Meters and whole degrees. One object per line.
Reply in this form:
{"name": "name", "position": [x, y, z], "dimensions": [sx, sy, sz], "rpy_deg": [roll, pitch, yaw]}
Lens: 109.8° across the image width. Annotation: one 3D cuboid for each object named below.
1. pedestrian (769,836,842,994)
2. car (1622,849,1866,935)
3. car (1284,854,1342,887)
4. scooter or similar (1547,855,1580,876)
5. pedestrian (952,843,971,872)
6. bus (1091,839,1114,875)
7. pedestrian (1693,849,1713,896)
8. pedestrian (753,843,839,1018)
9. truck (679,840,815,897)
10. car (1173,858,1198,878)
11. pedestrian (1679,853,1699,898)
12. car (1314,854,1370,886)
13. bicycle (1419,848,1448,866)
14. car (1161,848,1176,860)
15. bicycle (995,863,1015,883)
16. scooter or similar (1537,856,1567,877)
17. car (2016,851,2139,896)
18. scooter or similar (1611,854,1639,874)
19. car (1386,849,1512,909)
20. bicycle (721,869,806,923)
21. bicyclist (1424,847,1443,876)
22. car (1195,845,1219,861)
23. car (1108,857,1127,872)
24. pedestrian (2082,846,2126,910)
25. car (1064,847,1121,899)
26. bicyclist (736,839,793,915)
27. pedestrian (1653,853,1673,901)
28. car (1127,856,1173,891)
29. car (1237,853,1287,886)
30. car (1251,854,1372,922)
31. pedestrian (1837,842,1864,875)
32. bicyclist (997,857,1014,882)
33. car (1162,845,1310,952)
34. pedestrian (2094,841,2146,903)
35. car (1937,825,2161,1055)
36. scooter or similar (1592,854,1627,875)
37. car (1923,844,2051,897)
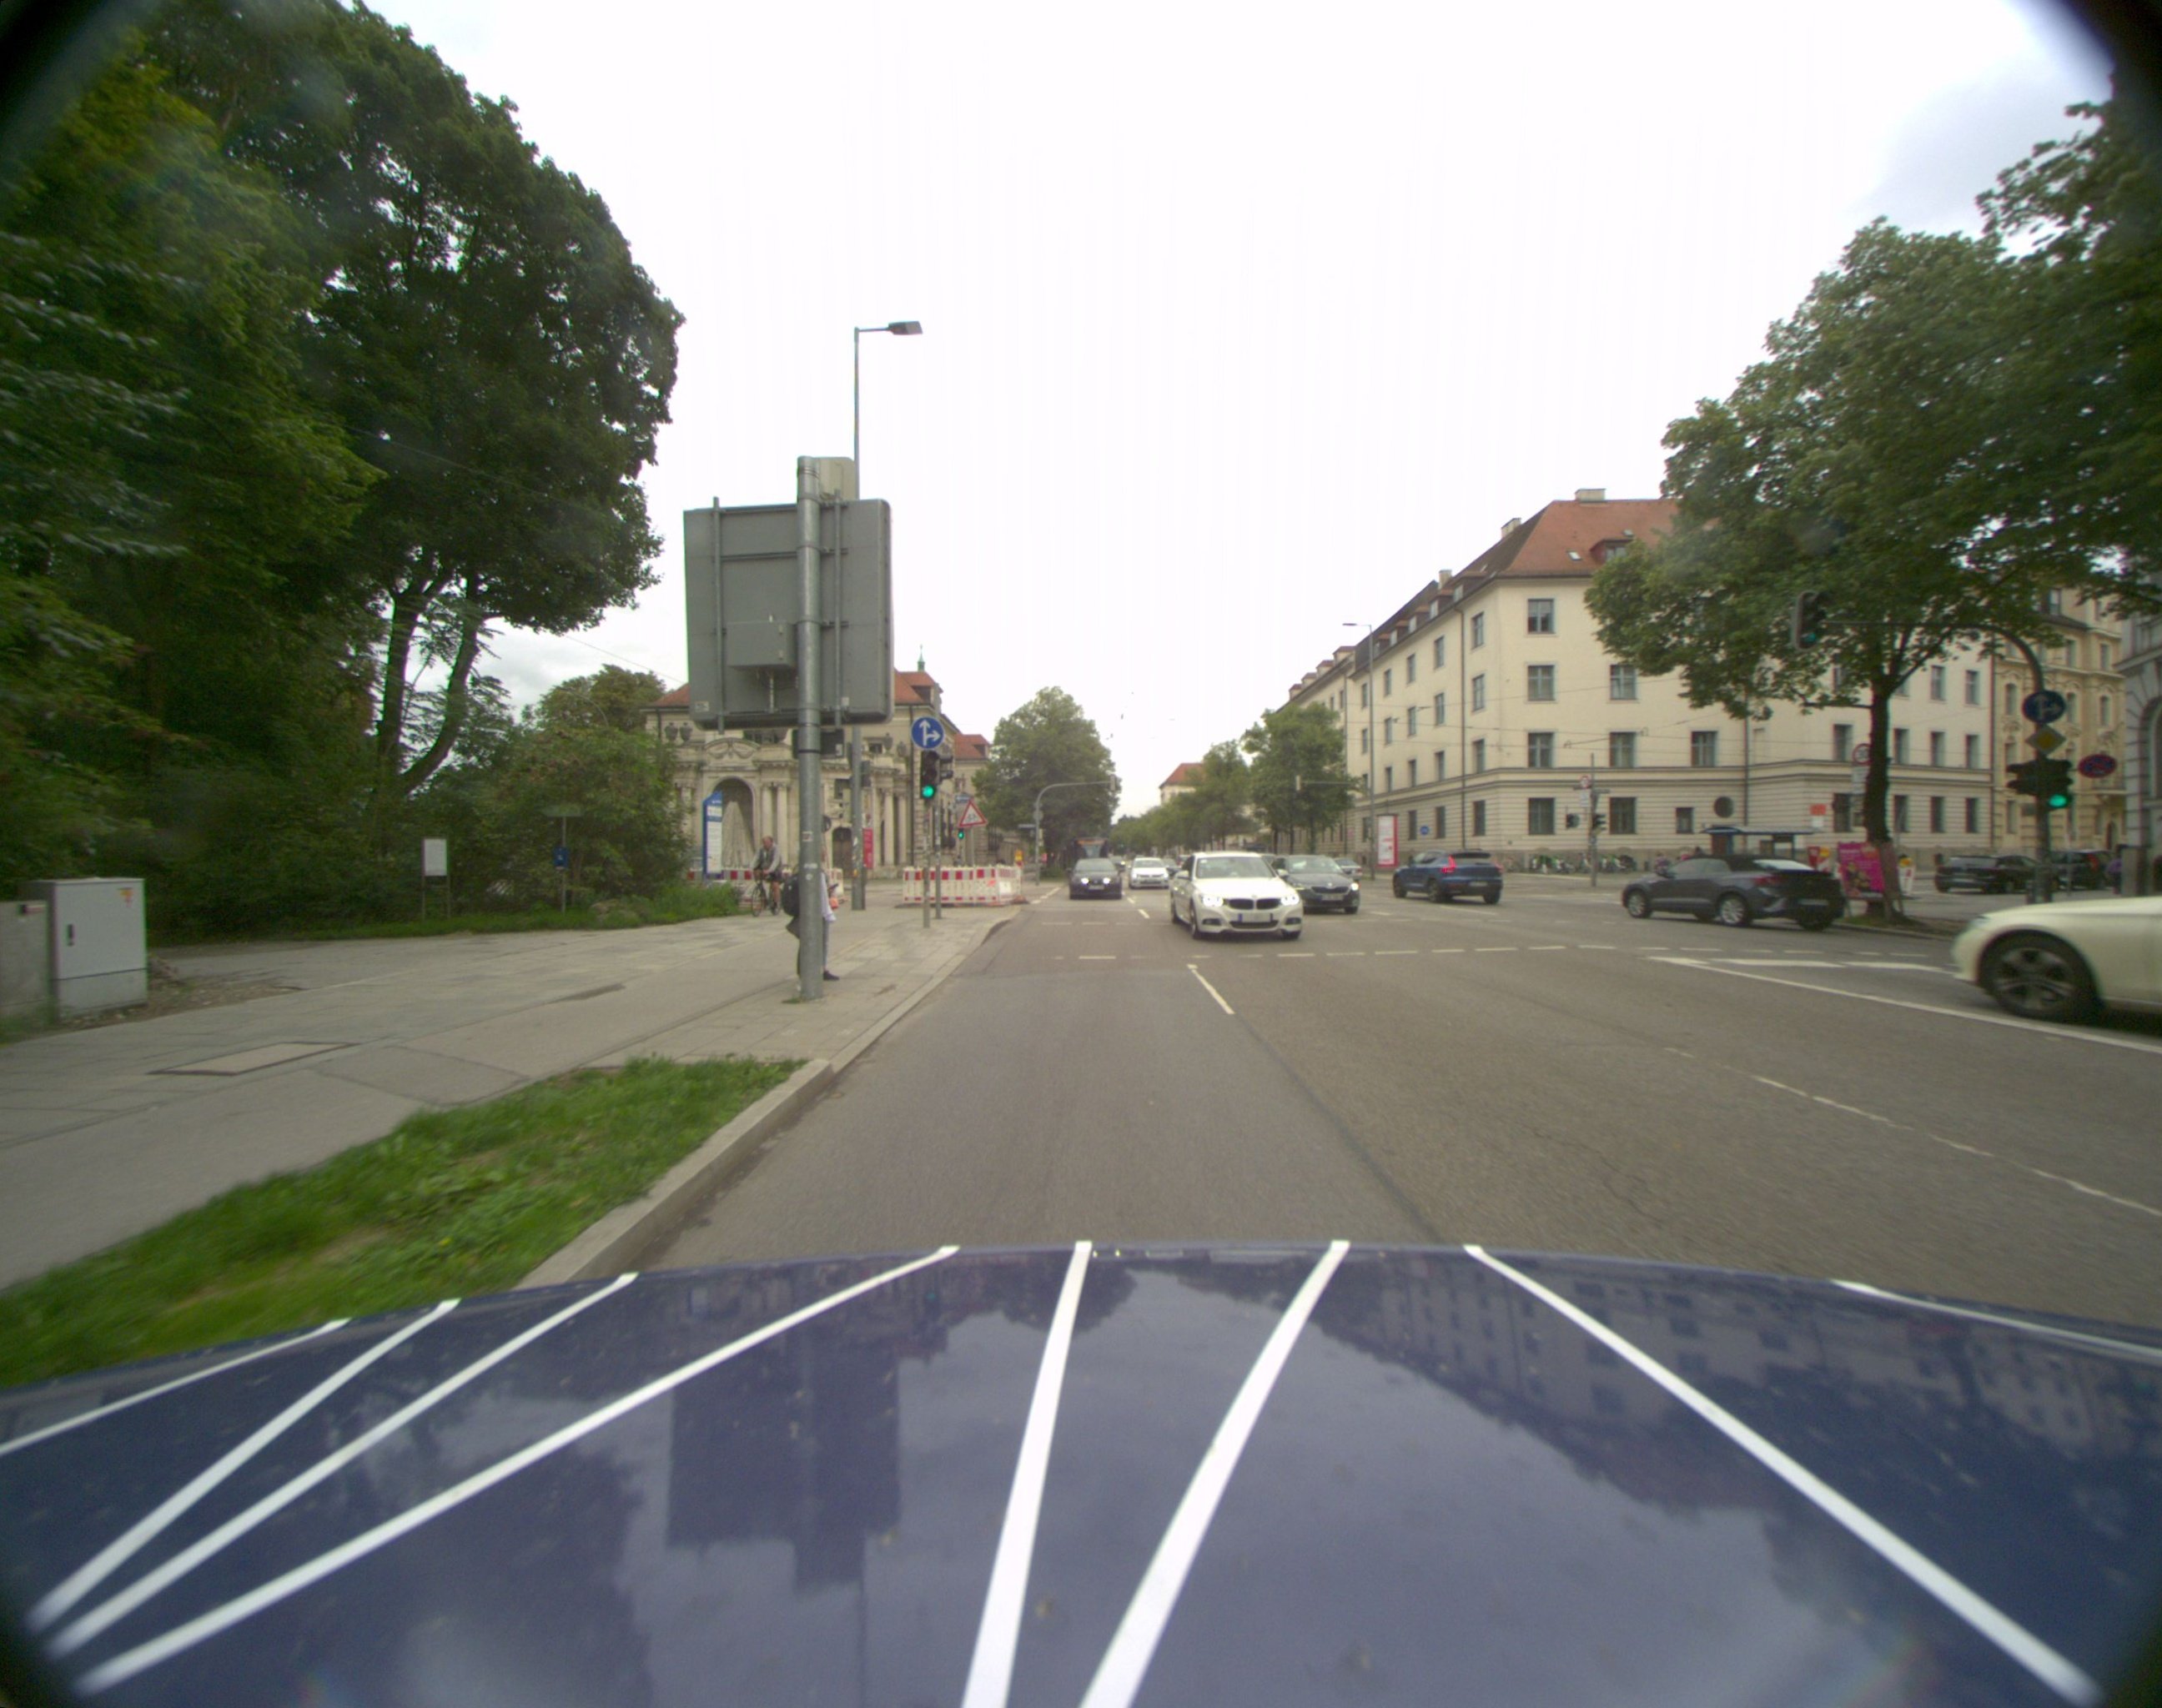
{"name": "pedestrian", "position": [-3.173, 0.679, 8.796], "dimensions": [0.610, 1.751, 0.635], "rpy_deg": [-2, 1, -7]}
{"name": "car", "position": [13.896, 0.701, 16.302], "dimensions": [1.739, 1.567, 4.056], "rpy_deg": [-1, 1, 1]}
{"name": "car", "position": [11.821, 0.795, 38.988], "dimensions": [1.748, 1.586, 4.000], "rpy_deg": [1, 0, 0]}
{"name": "scooter or similar", "position": [28.076, 0.649, 44.210], "dimensions": [0.690, 1.112, 1.948], "rpy_deg": [-3, 1, 1]}
{"name": "pedestrian", "position": [-7.532, 0.223, 47.848], "dimensions": [1.067, 1.754, 0.774], "rpy_deg": [-3, 1, -5]}
{"name": "bus", "position": [1.634, 0.194, 58.552], "dimensions": [1.638, 2.570, 6.701], "rpy_deg": [-1, 1, 1]}
{"name": "pedestrian", "position": [24.616, 0.722, 30.073], "dimensions": [0.502, 1.844, 0.470], "rpy_deg": [-1, 2, 19]}
{"name": "pedestrian", "position": [-2.964, 0.765, 7.955], "dimensions": [0.626, 1.751, 0.635], "rpy_deg": [-1, 1, -3]}
{"name": "truck", "position": [-16.493, 0.711, 37.596], "dimensions": [5.925, 2.480, 2.297], "rpy_deg": [-2, 1, 16]}
{"name": "car", "position": [9.091, 1.205, 66.427], "dimensions": [1.638, 1.562, 3.945], "rpy_deg": [-1, 1, 1]}
{"name": "pedestrian", "position": [23.844, 0.839, 29.803], "dimensions": [0.502, 1.729, 0.470], "rpy_deg": [-1, 2, 19]}
{"name": "car", "position": [14.372, 0.843, 42.093], "dimensions": [1.739, 1.567, 4.056], "rpy_deg": [-1, 1, 1]}
{"name": "bicycle", "position": [19.859, 0.151, 42.862], "dimensions": [0.663, 0.982, 2.181], "rpy_deg": [-3, 1, 1]}
{"name": "car", "position": [12.318, -0.009, 106.928], "dimensions": [1.683, 1.630, 4.164], "rpy_deg": [-1, 1, 1]}
{"name": "bicycle", "position": [-4.222, 1.050, 42.466], "dimensions": [0.830, 1.001, 2.057], "rpy_deg": [-3, 1, 1]}
{"name": "scooter or similar", "position": [27.237, 0.700, 43.969], "dimensions": [0.690, 1.112, 1.948], "rpy_deg": [-3, 1, 7]}
{"name": "car", "position": [37.222, 0.694, 28.395], "dimensions": [3.576, 1.509, 1.691], "rpy_deg": [-1, 1, -18]}
{"name": "scooter or similar", "position": [31.408, 0.570, 43.878], "dimensions": [0.546, 1.112, 1.547], "rpy_deg": [-3, 1, 1]}
{"name": "car", "position": [11.241, 0.678, 23.574], "dimensions": [1.844, 1.646, 4.350], "rpy_deg": [0, 1, 1]}
{"name": "bicycle", "position": [-7.165, 0.929, 17.300], "dimensions": [0.739, 1.051, 2.164], "rpy_deg": [-2, 1, 7]}
{"name": "bicyclist", "position": [19.881, 0.419, 42.851], "dimensions": [0.661, 1.569, 0.892], "rpy_deg": [-3, 1, 1]}
{"name": "car", "position": [12.337, -0.142, 74.596], "dimensions": [1.757, 1.521, 4.226], "rpy_deg": [-1, 1, 1]}
{"name": "car", "position": [3.875, 1.069, 80.535], "dimensions": [1.797, 1.439, 4.274], "rpy_deg": [-1, 1, 0]}
{"name": "pedestrian", "position": [33.137, 0.773, 24.615], "dimensions": [0.781, 2.002, 0.641], "rpy_deg": [-3, 1, -20]}
{"name": "car", "position": [0.393, 0.598, 26.695], "dimensions": [1.797, 1.627, 4.274], "rpy_deg": [-1, 1, 0]}
{"name": "bicyclist", "position": [-7.178, 0.496, 17.244], "dimensions": [0.758, 1.657, 0.899], "rpy_deg": [-2, 1, 8]}
{"name": "pedestrian", "position": [22.988, 0.900, 30.009], "dimensions": [0.502, 1.844, 0.528], "rpy_deg": [-1, 2, 19]}
{"name": "car", "position": [3.177, 0.876, 35.784], "dimensions": [1.797, 1.439, 4.274], "rpy_deg": [-1, 1, 0]}
{"name": "car", "position": [9.140, 0.736, 38.707], "dimensions": [1.638, 1.562, 3.945], "rpy_deg": [-1, 1, 1]}
{"name": "car", "position": [5.692, 0.776, 19.319], "dimensions": [1.797, 1.439, 4.274], "rpy_deg": [-1, 1, 0]}
{"name": "pedestrian", "position": [42.969, 0.250, 42.425], "dimensions": [0.807, 1.842, 0.660], "rpy_deg": [-3, 1, 2]}
{"name": "bicyclist", "position": [-4.227, 0.872, 42.599], "dimensions": [0.808, 1.305, 0.893], "rpy_deg": [-3, 1, 1]}
{"name": "car", "position": [2.717, 0.682, 14.502], "dimensions": [1.797, 1.627, 5.025], "rpy_deg": [-1, 1, 0]}
{"name": "pedestrian", "position": [34.293, 0.585, 25.087], "dimensions": [0.781, 2.002, 0.802], "rpy_deg": [-3, 1, -20]}
{"name": "car", "position": [8.129, 0.584, 4.018], "dimensions": [1.832, 1.533, 4.822], "rpy_deg": [-1, 1, 1]}
{"name": "scooter or similar", "position": [30.624, 0.602, 44.057], "dimensions": [0.690, 1.151, 1.901], "rpy_deg": [-3, 1, 1]}
{"name": "car", "position": [32.141, 0.545, 26.969], "dimensions": [3.576, 1.720, 1.691], "rpy_deg": [-1, 1, -18]}
